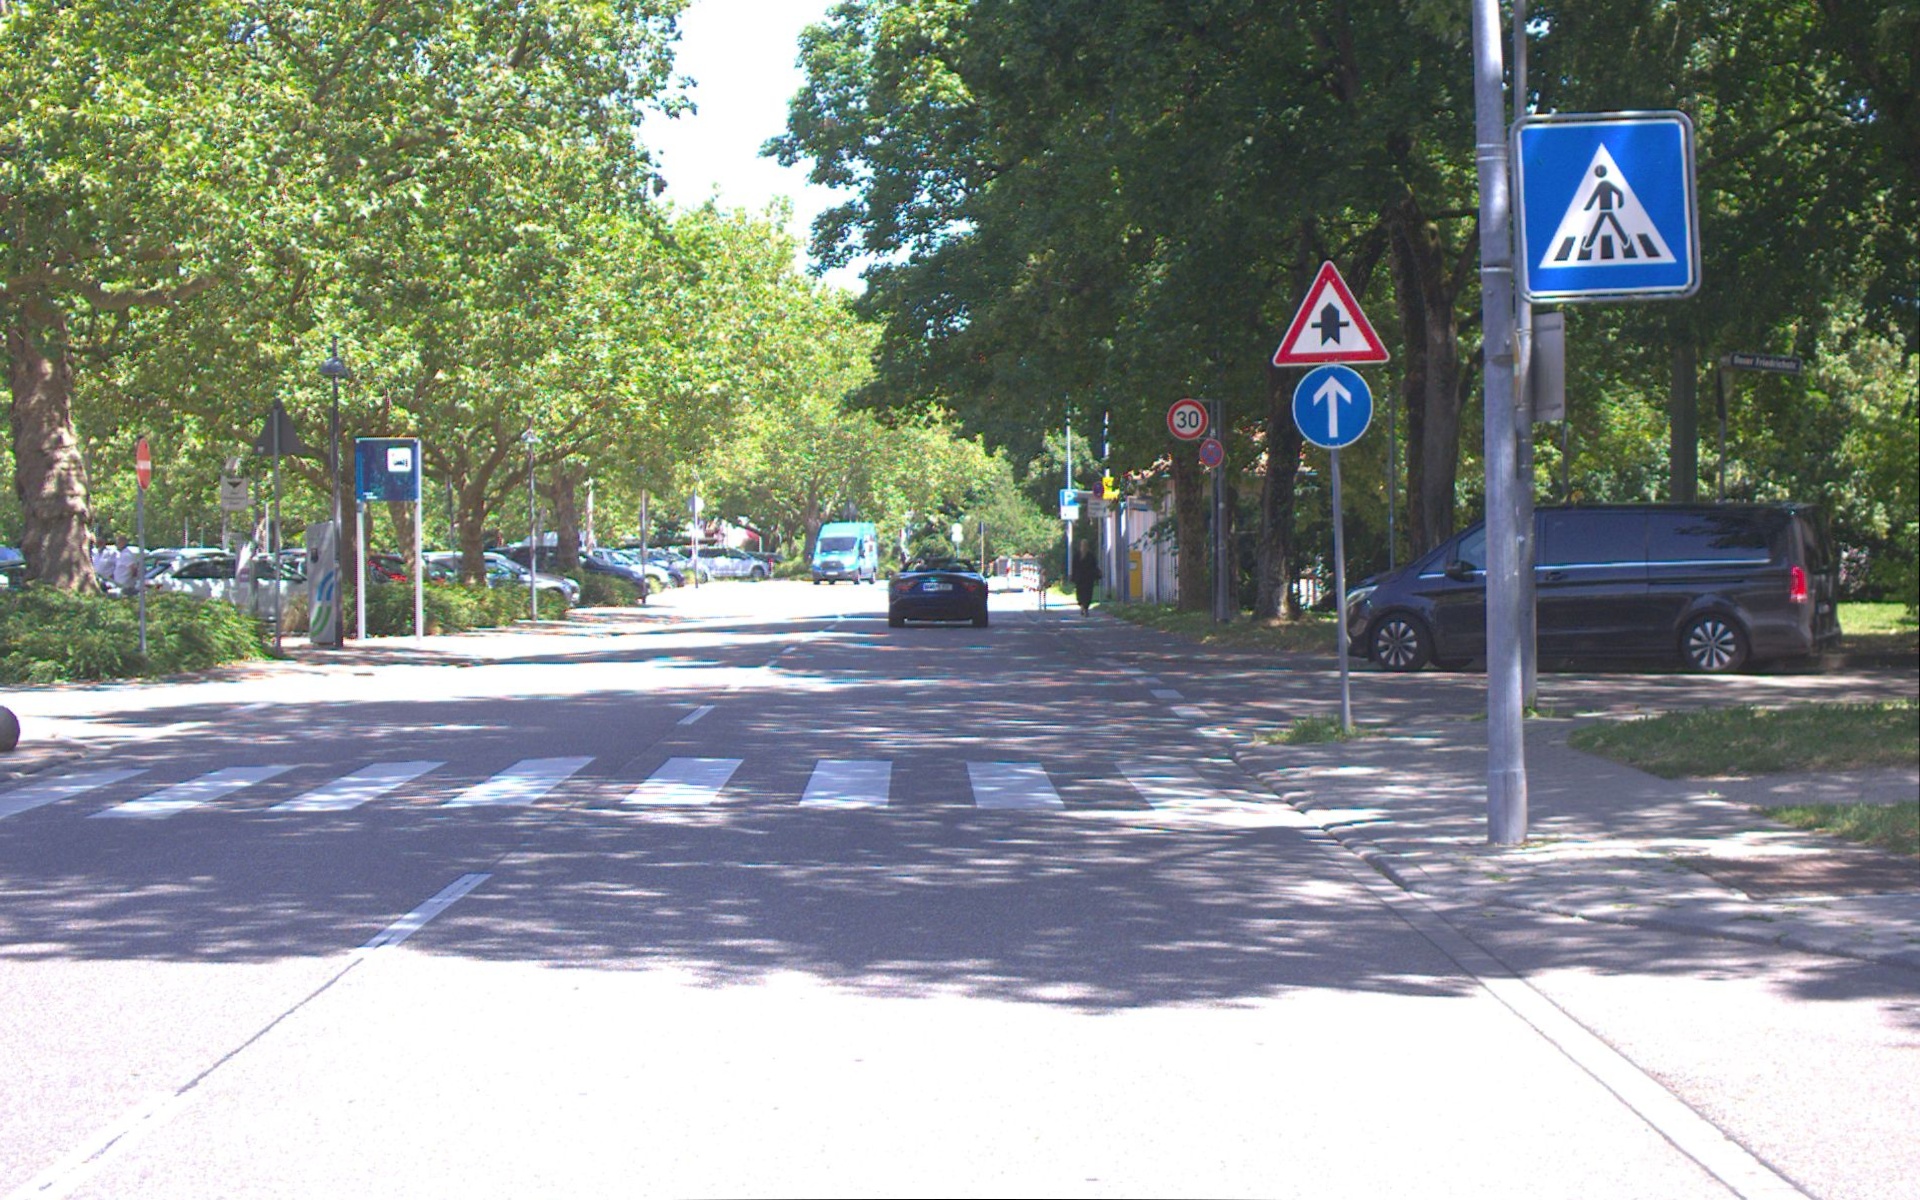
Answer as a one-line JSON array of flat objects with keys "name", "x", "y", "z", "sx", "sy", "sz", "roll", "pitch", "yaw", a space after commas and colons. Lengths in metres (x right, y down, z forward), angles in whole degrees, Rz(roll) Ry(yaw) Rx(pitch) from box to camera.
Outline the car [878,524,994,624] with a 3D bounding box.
[{"name": "car", "x": -0.425, "y": -0.504, "z": 65.835, "sx": 2.125, "sy": 1.842, "sz": 4.048, "roll": 0, "pitch": 1, "yaw": 1}]

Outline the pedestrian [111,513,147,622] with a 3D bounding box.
[{"name": "pedestrian", "x": -15.386, "y": -0.602, "z": 63.628, "sx": 0.624, "sy": 2.007, "sz": 0.570, "roll": 0, "pitch": -1, "yaw": -14}]

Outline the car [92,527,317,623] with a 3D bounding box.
[{"name": "car", "x": -14.342, "y": -0.471, "z": 65.239, "sx": 3.986, "sy": 1.775, "sz": 2.001, "roll": 0, "pitch": 0, "yaw": -18}]
